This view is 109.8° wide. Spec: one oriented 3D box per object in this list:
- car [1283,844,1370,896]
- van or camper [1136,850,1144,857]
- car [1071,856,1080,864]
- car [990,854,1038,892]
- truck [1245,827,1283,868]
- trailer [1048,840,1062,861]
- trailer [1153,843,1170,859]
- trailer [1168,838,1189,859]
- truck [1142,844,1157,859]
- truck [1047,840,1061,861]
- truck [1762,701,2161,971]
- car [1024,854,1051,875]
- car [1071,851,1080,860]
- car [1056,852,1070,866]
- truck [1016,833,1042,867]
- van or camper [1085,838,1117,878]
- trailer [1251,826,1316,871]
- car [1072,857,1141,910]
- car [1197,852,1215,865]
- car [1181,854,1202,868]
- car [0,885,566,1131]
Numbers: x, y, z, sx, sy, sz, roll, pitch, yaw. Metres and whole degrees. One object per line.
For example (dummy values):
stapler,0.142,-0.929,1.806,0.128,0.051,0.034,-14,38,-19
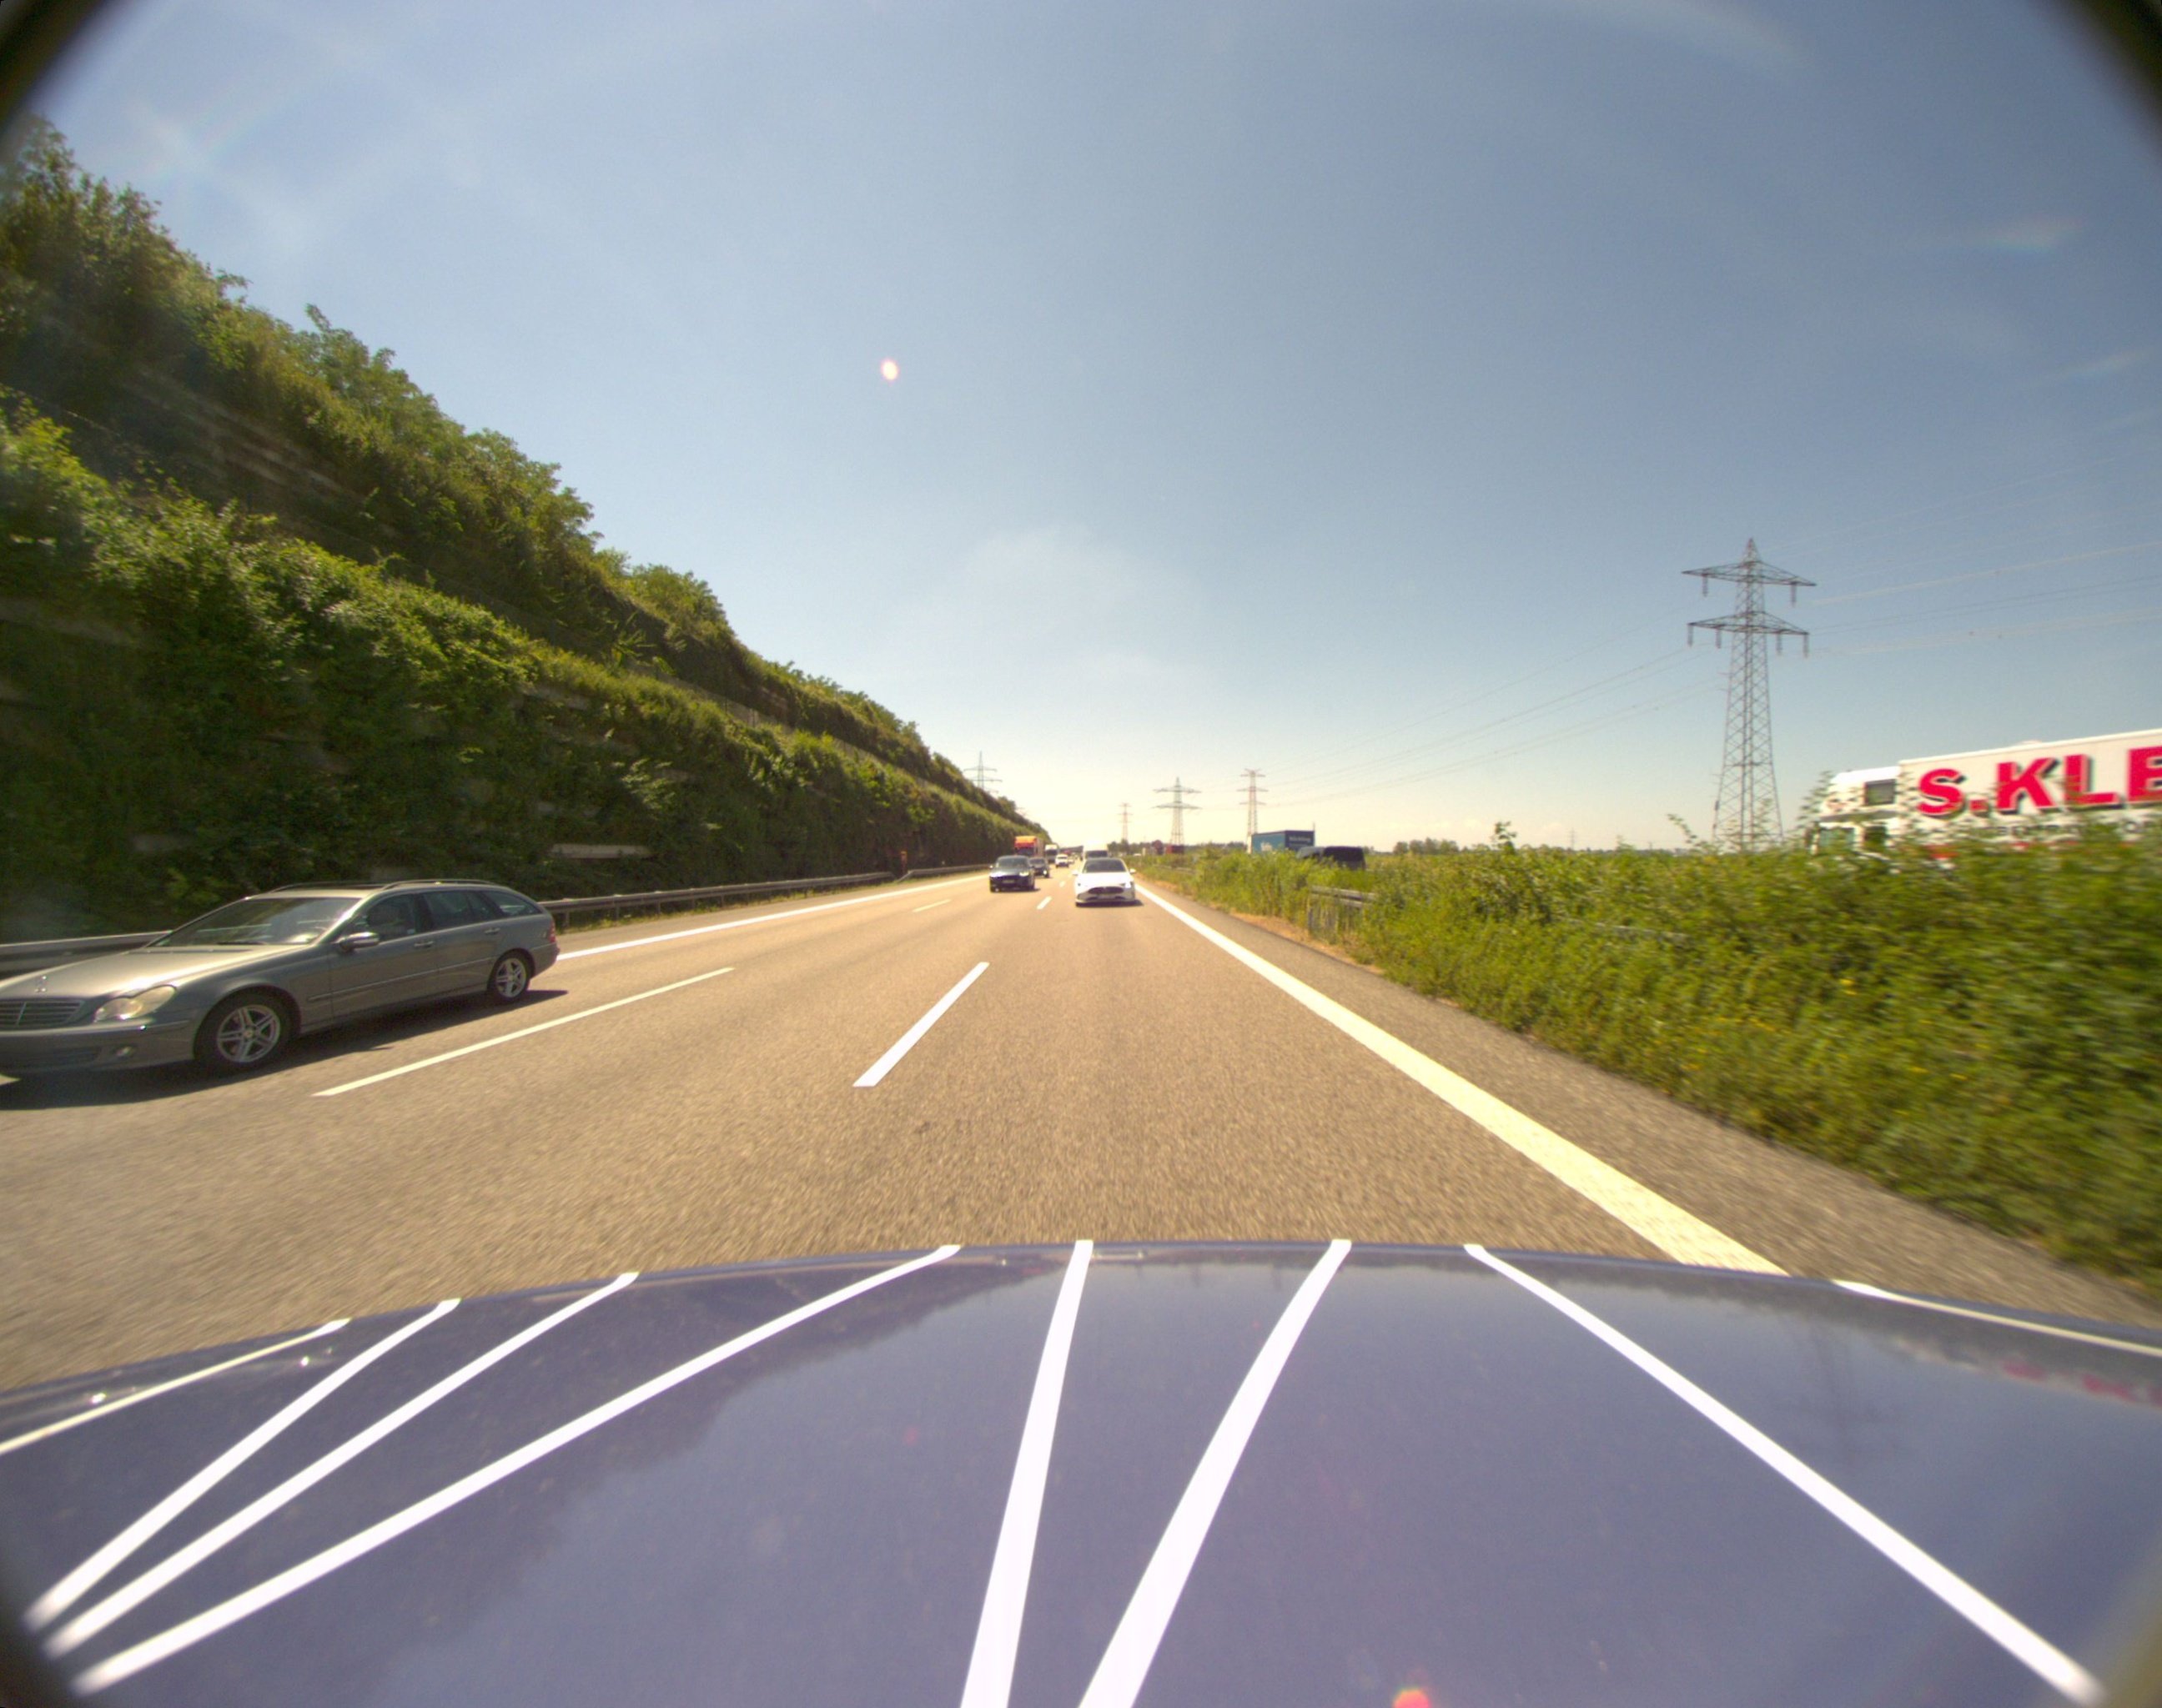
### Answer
car,10.230,0.600,32.072,1.999,2.002,5.117,0,0,0
van or camper,20.717,-0.161,268.313,2.449,2.503,6.483,0,0,0
car,-1.075,1.108,146.956,1.780,1.520,4.000,0,0,1
car,-3.088,0.850,35.715,1.798,1.643,4.137,-1,0,0
truck,19.011,-0.659,79.216,2.703,4.045,5.801,0,0,0
trailer,-5.651,-0.690,165.445,2.521,4.187,17.026,-1,0,-1
trailer,20.413,-0.801,193.475,2.857,3.954,14.142,0,0,0
trailer,20.541,-1.131,160.698,3.201,4.281,12.271,-1,0,1
truck,16.006,-0.667,178.423,2.944,3.393,9.367,-1,0,2
truck,-5.581,-0.772,156.893,2.514,4.195,6.255,-1,0,0
truck,18.104,-0.295,13.386,2.880,4.152,10.568,0,0,1
car,-3.212,0.762,56.609,1.753,1.516,3.995,-1,0,0
car,-1.045,0.334,148.147,1.782,1.716,3.750,-2,0,1
car,-2.458,0.704,106.052,1.784,1.783,4.000,-1,0,0
truck,-6.273,-0.500,92.574,2.624,3.969,6.526,-1,0,0
van or camper,1.400,0.286,55.947,2.102,2.752,6.756,-1,0,0
trailer,18.988,-0.498,72.386,2.700,3.914,13.909,0,0,1
car,0.740,0.877,24.327,1.999,1.473,4.108,-1,0,0
car,16.026,0.530,97.567,1.757,1.623,4.608,0,0,1
car,11.548,0.710,79.452,1.635,1.391,4.331,0,0,1
car,-7.308,1.128,7.271,1.689,1.420,4.453,-1,0,0
